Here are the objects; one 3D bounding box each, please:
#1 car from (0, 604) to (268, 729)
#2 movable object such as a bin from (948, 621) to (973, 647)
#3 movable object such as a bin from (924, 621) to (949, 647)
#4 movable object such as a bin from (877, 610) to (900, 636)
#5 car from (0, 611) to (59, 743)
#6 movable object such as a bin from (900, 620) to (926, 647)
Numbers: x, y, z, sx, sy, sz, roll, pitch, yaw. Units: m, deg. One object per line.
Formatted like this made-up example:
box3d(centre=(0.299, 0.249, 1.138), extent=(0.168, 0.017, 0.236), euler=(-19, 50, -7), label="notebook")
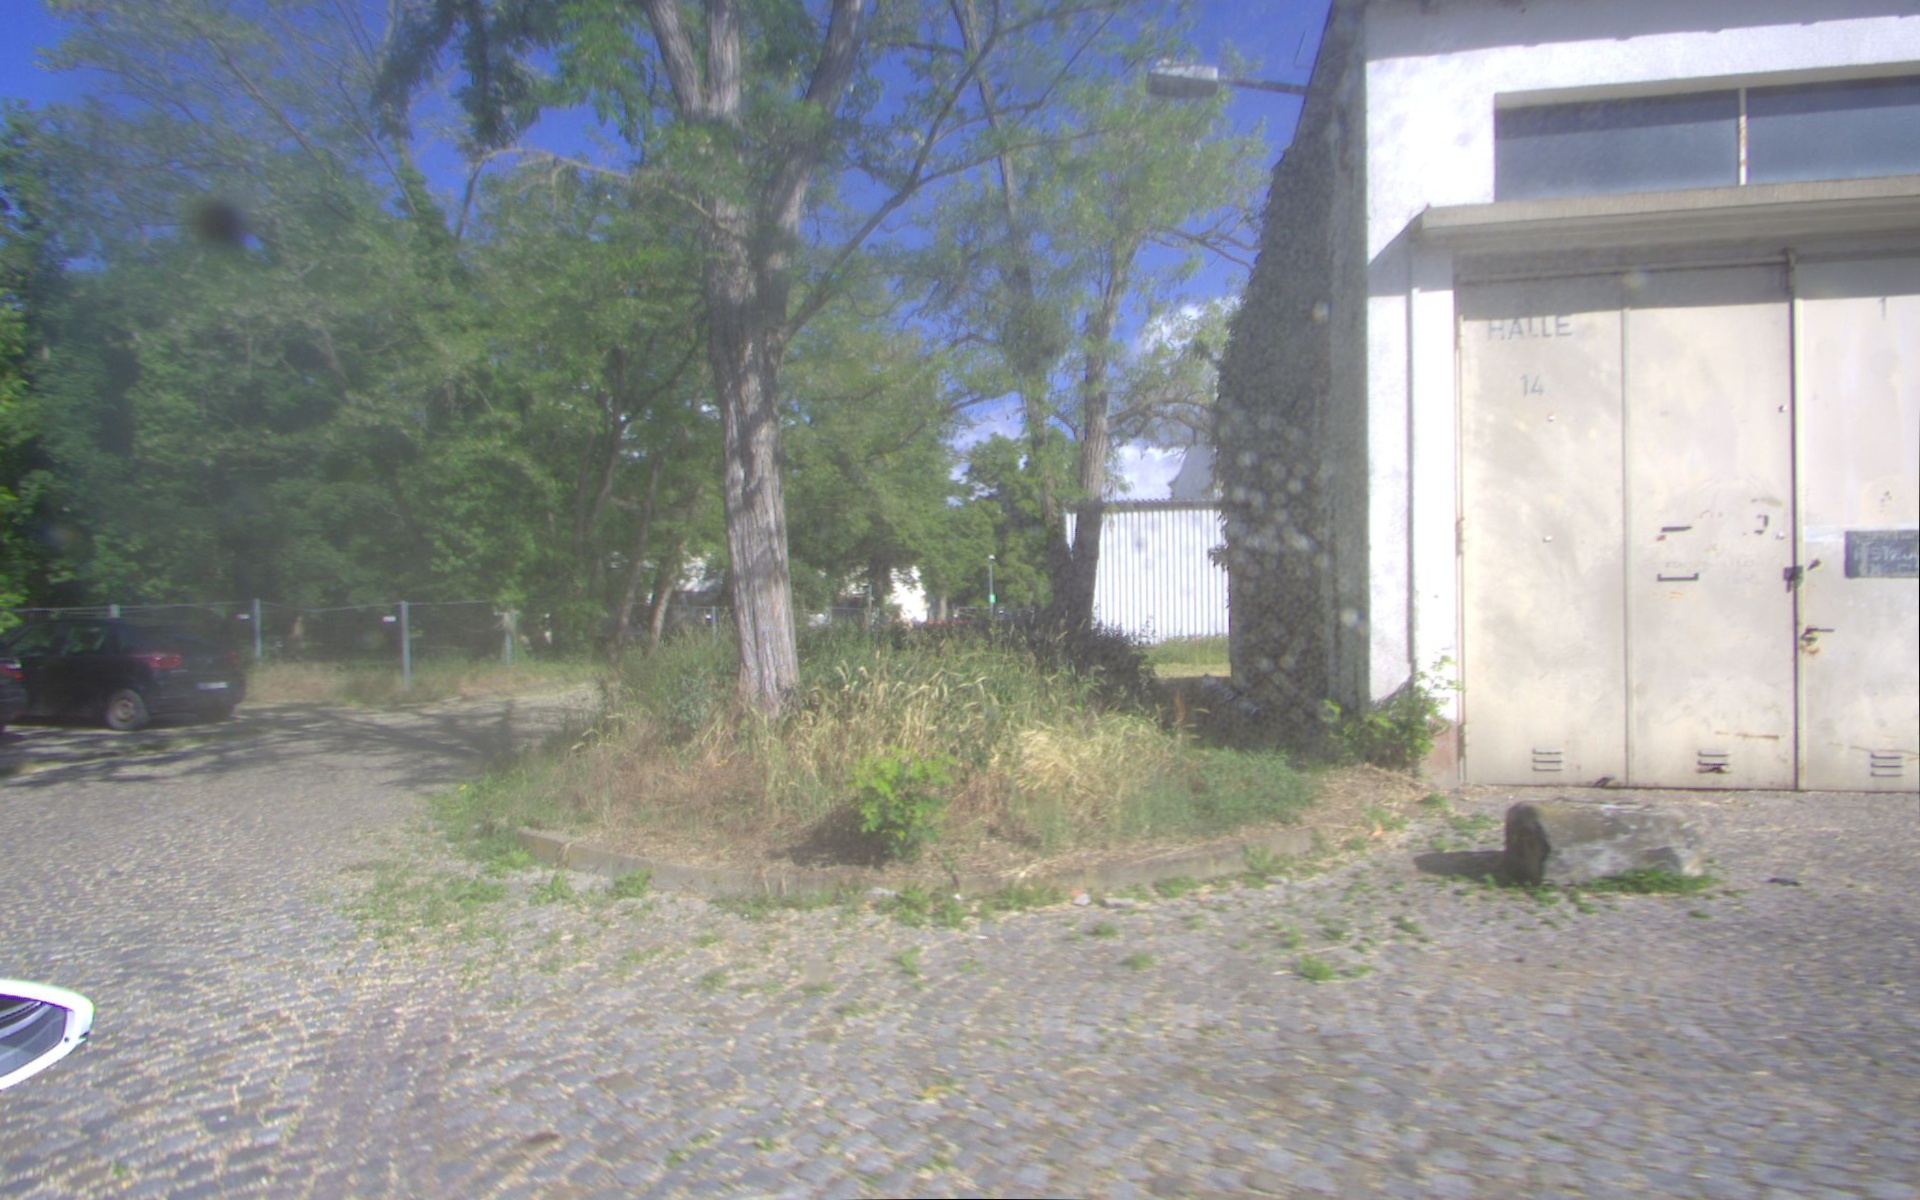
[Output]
box3d(centre=(-13.588, 0.983, 15.758), extent=(4.190, 1.610, 1.829), euler=(3, 0, 5), label="car")
box3d(centre=(0.020, 1.876, 55.493), extent=(1.266, 1.444, 1.032), euler=(-1, -1, 6), label="movable object such as a bin")
box3d(centre=(-1.296, 1.874, 55.646), extent=(1.266, 1.444, 1.032), euler=(-1, -1, 7), label="movable object such as a bin")
box3d(centre=(-3.996, 1.297, 55.962), extent=(1.067, 1.456, 1.055), euler=(-1, -1, 11), label="movable object such as a bin")
box3d(centre=(-14.212, 0.897, 12.682), extent=(4.191, 1.652, 1.881), euler=(2, -1, 8), label="car")
box3d(centre=(-2.601, 1.869, 55.875), extent=(1.266, 1.444, 1.032), euler=(-1, -1, 7), label="movable object such as a bin")
